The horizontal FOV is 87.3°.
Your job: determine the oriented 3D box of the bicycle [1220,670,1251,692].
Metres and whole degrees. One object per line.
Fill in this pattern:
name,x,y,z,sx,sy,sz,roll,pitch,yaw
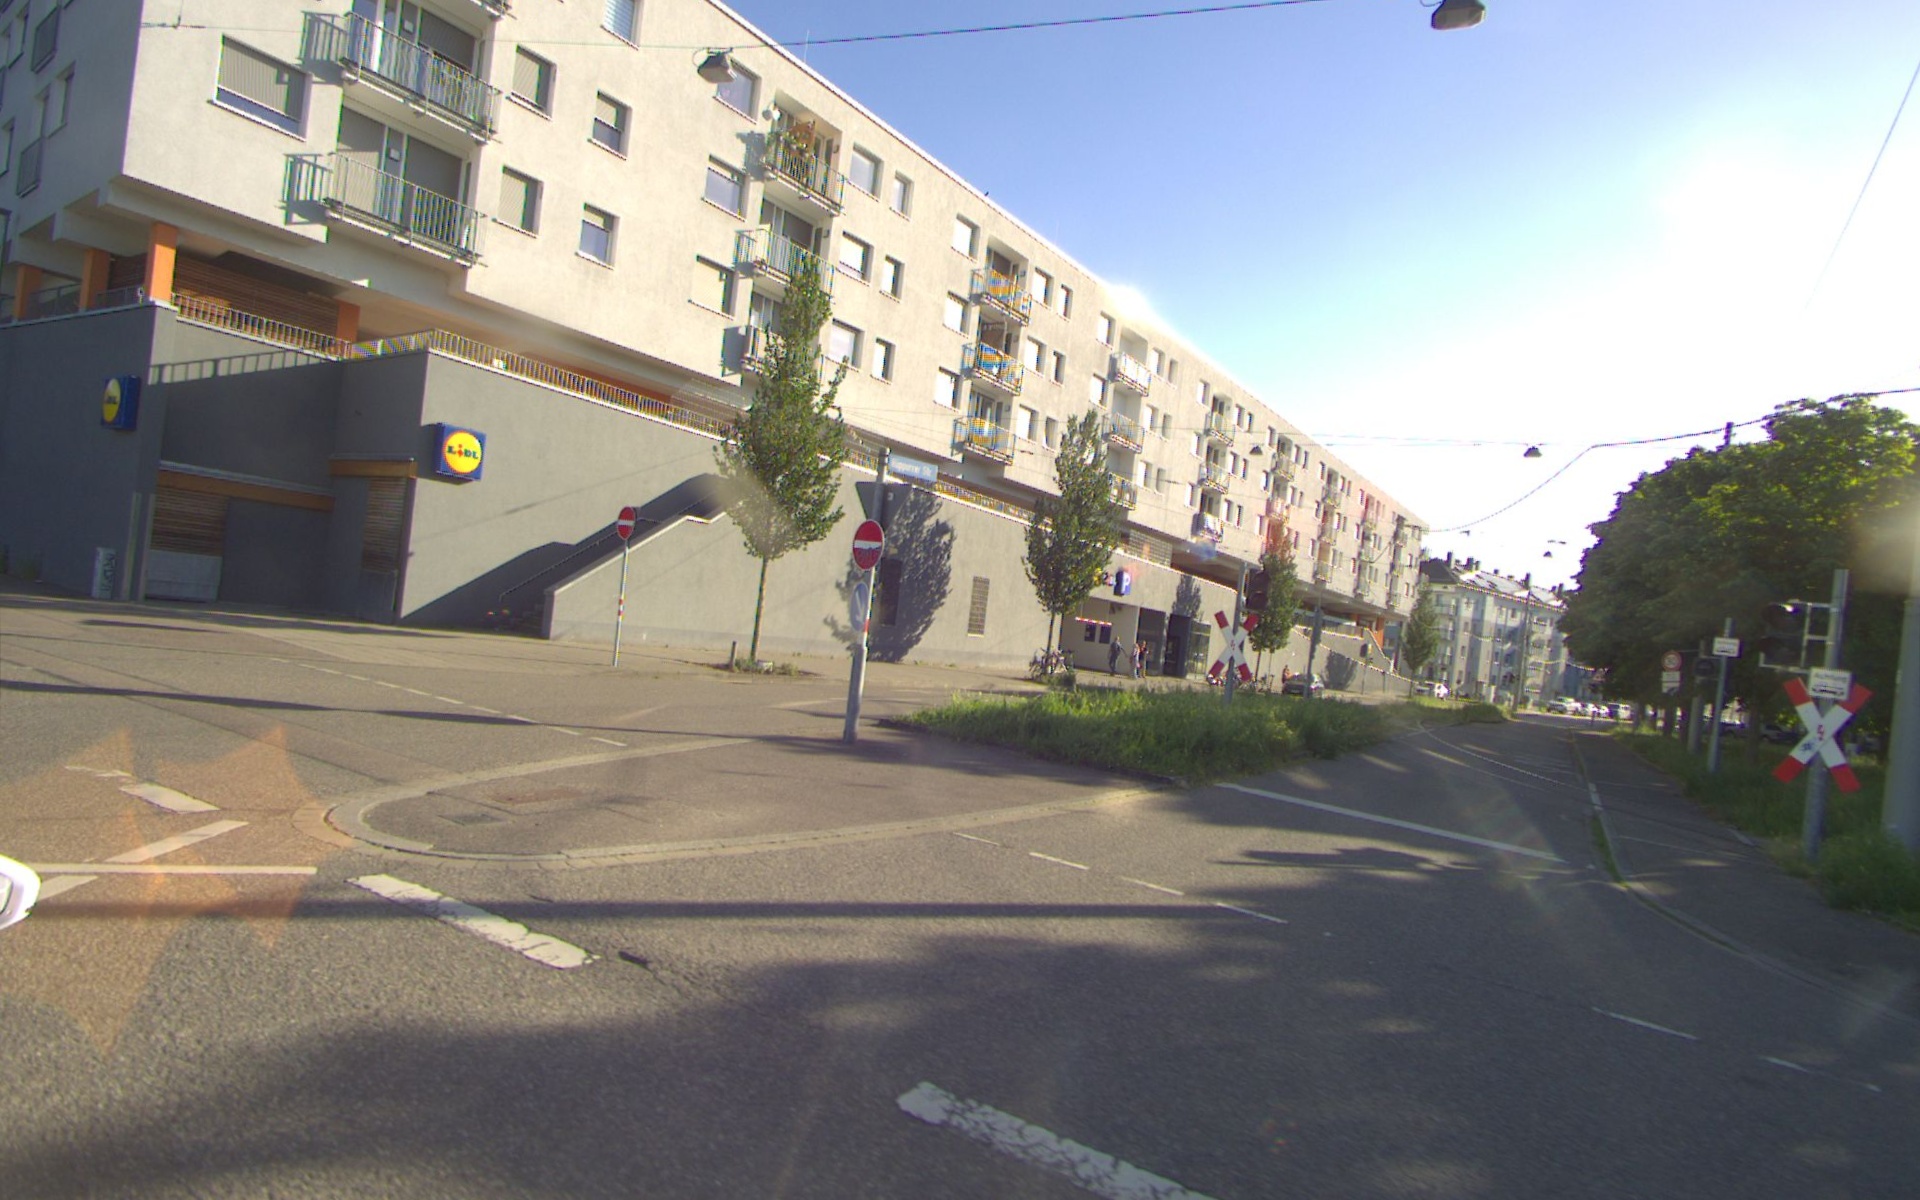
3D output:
bicycle,14.765,4.330,53.944,1.435,0.980,0.480,4,-3,43

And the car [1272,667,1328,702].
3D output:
car,20.019,5.001,59.163,1.969,1.658,3.992,5,-4,35

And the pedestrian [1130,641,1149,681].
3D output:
pedestrian,8.885,3.020,49.797,0.589,1.851,0.663,6,-2,22

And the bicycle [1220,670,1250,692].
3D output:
bicycle,14.999,4.414,54.823,1.435,0.980,0.480,4,-3,43

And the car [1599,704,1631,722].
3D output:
car,79.898,13.786,122.714,3.971,1.658,1.980,10,-4,-39

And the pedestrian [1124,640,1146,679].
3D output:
pedestrian,8.224,2.783,47.330,0.659,1.720,0.593,9,-3,-42

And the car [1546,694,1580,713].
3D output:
car,67.826,11.673,113.178,3.971,1.658,1.980,10,-4,-39

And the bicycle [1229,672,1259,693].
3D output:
bicycle,15.714,4.559,55.704,1.435,0.980,0.480,4,-3,43

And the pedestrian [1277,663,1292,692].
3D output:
pedestrian,20.548,4.902,63.735,0.652,1.720,0.600,5,-3,30

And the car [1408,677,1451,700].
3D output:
car,43.807,8.294,93.819,3.970,1.658,1.980,10,-4,-38

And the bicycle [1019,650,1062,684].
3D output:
bicycle,2.735,2.274,34.096,0.479,0.980,1.437,9,-3,-41

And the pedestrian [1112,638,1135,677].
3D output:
pedestrian,7.613,2.669,46.751,0.659,1.720,0.593,9,-3,-42

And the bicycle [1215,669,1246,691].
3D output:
bicycle,14.412,4.264,53.604,1.435,0.980,0.480,4,-3,43

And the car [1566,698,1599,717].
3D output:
car,72.232,12.443,116.643,3.971,1.658,1.980,10,-4,-39
